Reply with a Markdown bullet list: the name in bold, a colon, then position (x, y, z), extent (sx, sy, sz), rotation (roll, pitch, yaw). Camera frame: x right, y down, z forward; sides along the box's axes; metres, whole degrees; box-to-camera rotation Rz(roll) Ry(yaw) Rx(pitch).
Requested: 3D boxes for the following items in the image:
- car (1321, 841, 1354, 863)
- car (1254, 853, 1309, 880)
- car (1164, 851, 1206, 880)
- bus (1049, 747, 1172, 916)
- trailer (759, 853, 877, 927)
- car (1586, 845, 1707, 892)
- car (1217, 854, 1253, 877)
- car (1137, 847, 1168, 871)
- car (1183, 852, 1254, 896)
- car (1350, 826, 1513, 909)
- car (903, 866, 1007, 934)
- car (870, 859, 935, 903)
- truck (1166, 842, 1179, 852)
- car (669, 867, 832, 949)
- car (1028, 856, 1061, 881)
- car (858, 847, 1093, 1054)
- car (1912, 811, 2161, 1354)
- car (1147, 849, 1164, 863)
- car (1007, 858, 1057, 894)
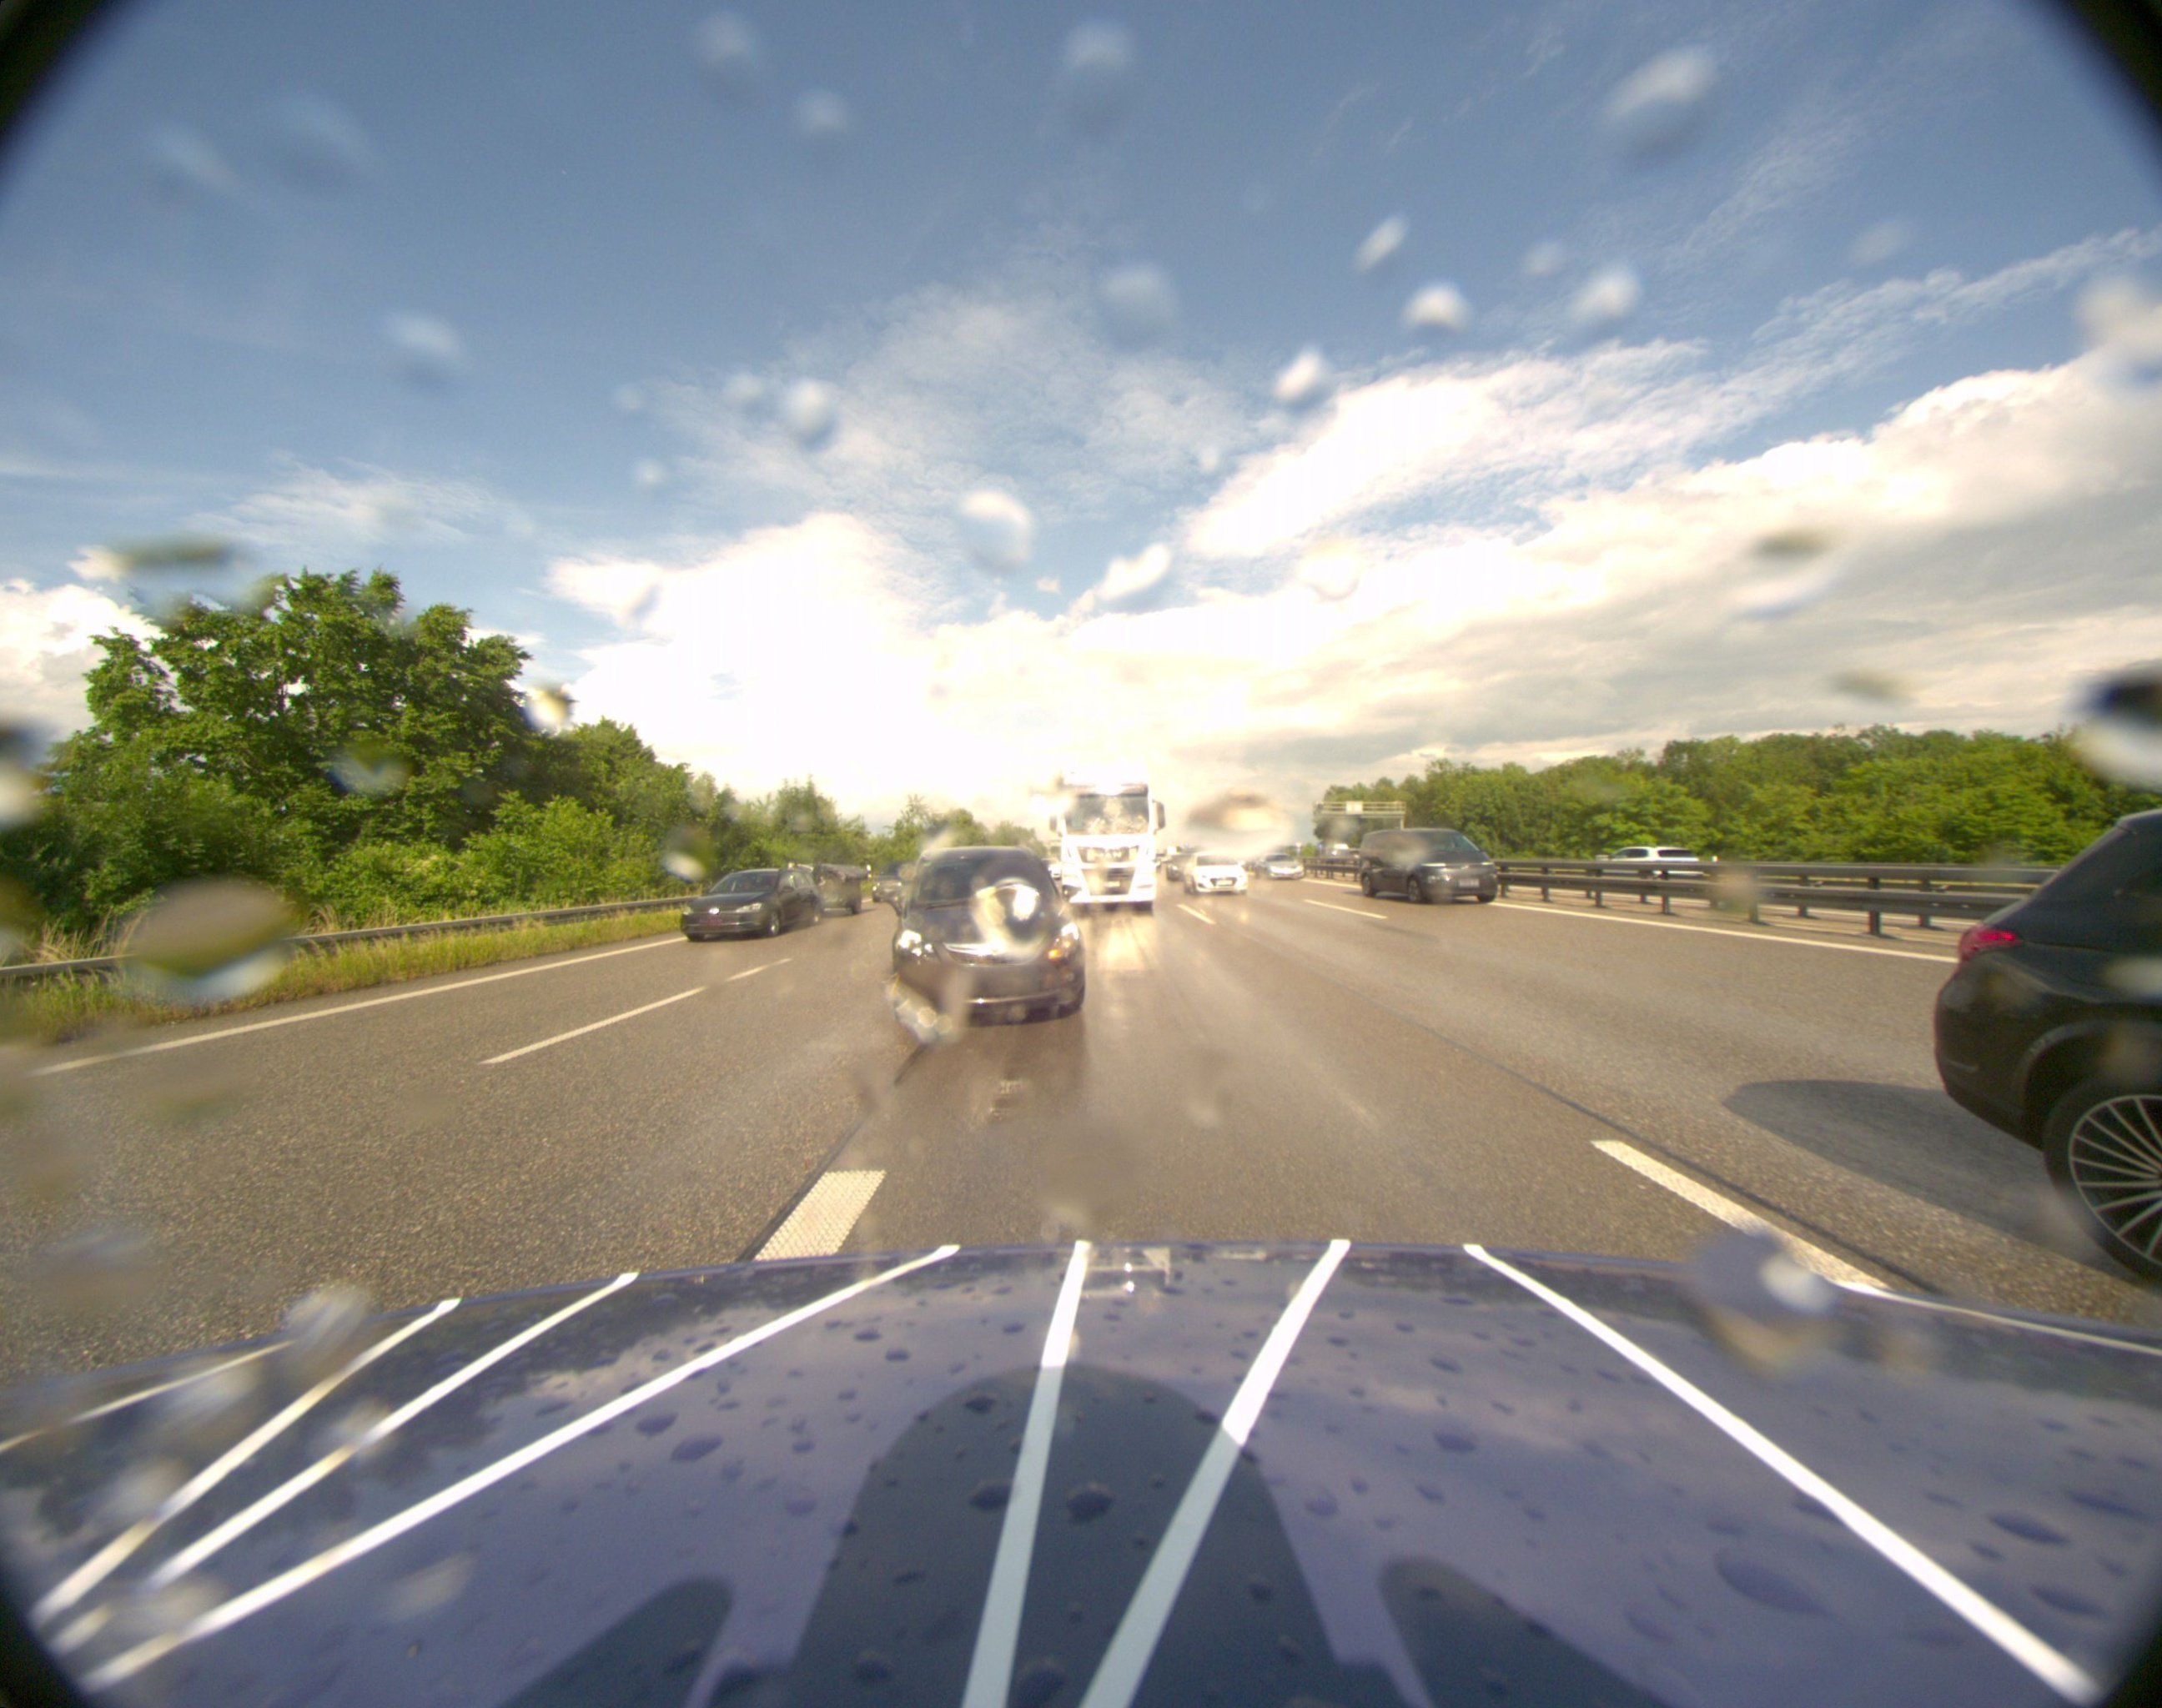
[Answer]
- **car**: position (24.980, -0.238, 74.164), extent (1.998, 2.002, 4.364), rotation (-2, 0, 4)
- **car**: position (9.709, 0.573, 37.028), extent (1.856, 1.182, 3.583), rotation (-2, 0, 3)
- **car**: position (5.354, 0.557, 39.499), extent (1.597, 1.390, 4.000), rotation (-2, 0, 0)
- **bus**: position (0.822, -0.581, 23.858), extent (2.904, 4.104, 9.845), rotation (-2, 0, 1)
- **trailer**: position (-7.152, 0.905, 21.101), extent (1.810, 1.736, 3.967), rotation (-3, 0, 0)
- **car**: position (21.370, 0.505, 28.907), extent (1.738, 1.641, 3.810), rotation (-2, 0, -1)
- **car**: position (10.225, 0.712, 50.682), extent (1.618, 1.412, 4.000), rotation (-2, 0, 1)
- **car**: position (5.368, 0.348, 57.201), extent (1.889, 1.707, 3.999), rotation (-2, 1, 0)
- **car**: position (4.720, 0.640, 26.650), extent (1.809, 1.389, 4.240), rotation (-1, 0, 2)
- **car**: position (9.175, 0.302, 20.500), extent (1.998, 1.906, 5.235), rotation (-2, 0, 0)
- **car**: position (-2.881, 1.019, 18.171), extent (1.722, 1.346, 3.884), rotation (-2, 0, 1)
- **car**: position (-6.660, 0.960, 28.729), extent (1.616, 1.480, 3.480), rotation (-2, 1, 0)
- **truck**: position (28.636, -2.200, 237.398), extent (2.923, 2.970, 8.721), rotation (-2, 1, 1)
- **car**: position (-7.124, 1.087, 16.917), extent (1.747, 1.422, 4.403), rotation (-2, 0, -1)
- **car**: position (-2.223, 0.871, 47.009), extent (1.858, 1.434, 3.999), rotation (-2, 0, 0)
- **car**: position (-1.110, 0.781, 8.599), extent (1.859, 1.622, 4.732), rotation (-2, 0, -6)
- **car**: position (4.207, 0.687, 0.694), extent (1.881, 1.669, 4.626), rotation (-2, 0, 1)
- **car**: position (10.152, 0.262, 103.411), extent (1.900, 1.740, 3.999), rotation (-2, 1, 0)
- **car**: position (-2.038, 0.908, 32.428), extent (1.744, 1.357, 4.000), rotation (-2, 0, 2)
